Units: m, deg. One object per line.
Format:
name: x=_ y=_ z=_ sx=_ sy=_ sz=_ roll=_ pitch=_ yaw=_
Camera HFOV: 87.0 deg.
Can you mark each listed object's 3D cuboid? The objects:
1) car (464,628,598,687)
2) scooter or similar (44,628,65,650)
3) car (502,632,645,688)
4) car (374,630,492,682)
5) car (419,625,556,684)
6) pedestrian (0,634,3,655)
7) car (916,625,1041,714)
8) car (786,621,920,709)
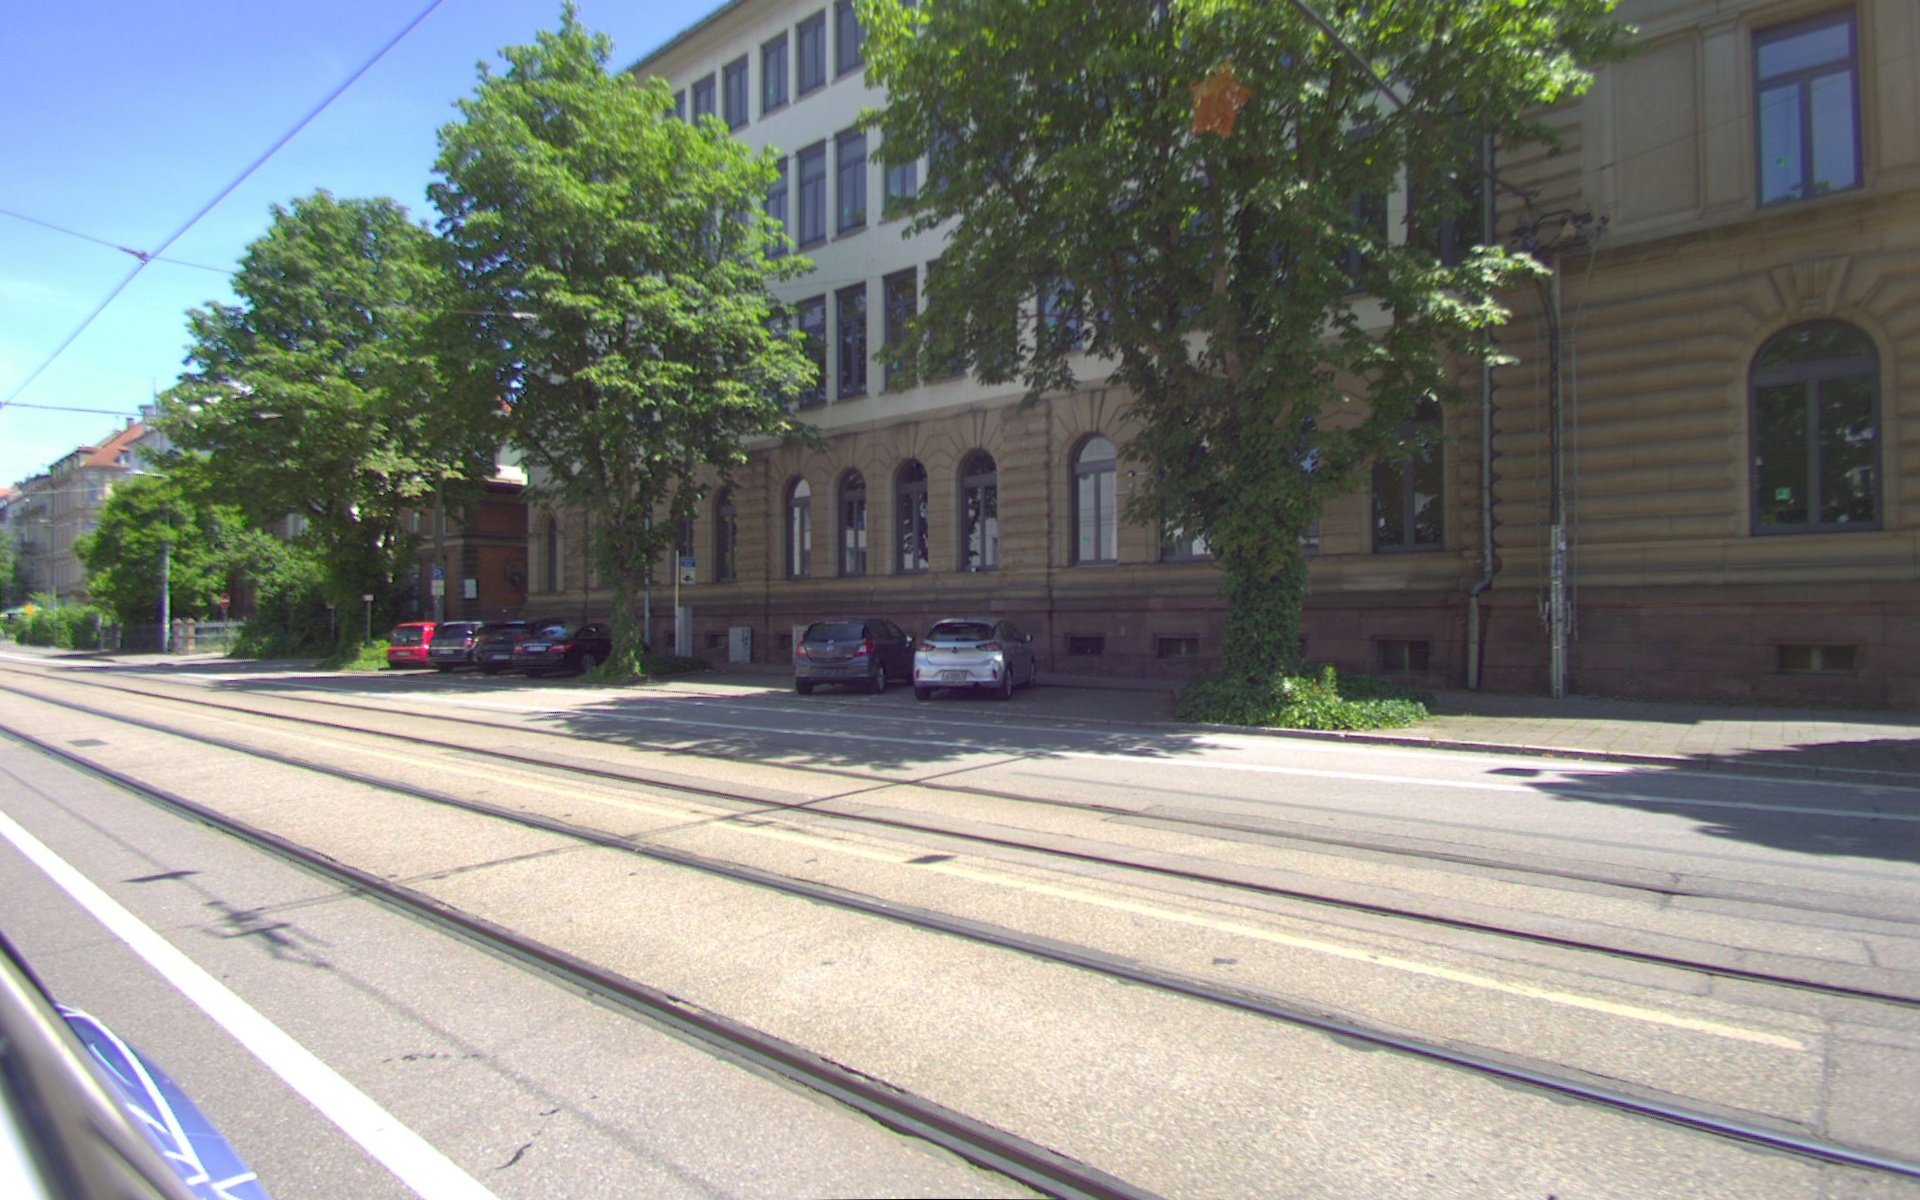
car: x=-12.289 y=1.622 z=29.240 sx=1.774 sy=1.589 sz=3.805 roll=-1 pitch=-2 yaw=10
scooter or similar: x=-61.991 y=2.664 z=69.272 sx=0.596 sy=1.462 sz=0.999 roll=-1 pitch=-1 yaw=40
car: x=-10.194 y=1.549 z=27.004 sx=1.653 sy=1.385 sz=3.916 roll=-1 pitch=-2 yaw=14
car: x=-17.098 y=1.787 z=32.984 sx=1.653 sy=1.527 sz=3.337 roll=-1 pitch=-1 yaw=14
car: x=-14.414 y=1.609 z=31.162 sx=1.651 sy=1.596 sz=4.308 roll=-1 pitch=0 yaw=10
pedestrian: x=-75.715 y=3.489 z=79.499 sx=0.939 sy=1.654 sz=0.732 roll=-2 pitch=-2 yaw=42
car: x=0.430 y=1.204 z=18.605 sx=1.684 sy=1.416 sz=3.536 roll=-1 pitch=-1 yaw=11
car: x=-2.036 y=1.229 z=20.286 sx=1.652 sy=1.531 sz=3.663 roll=-1 pitch=0 yaw=11
